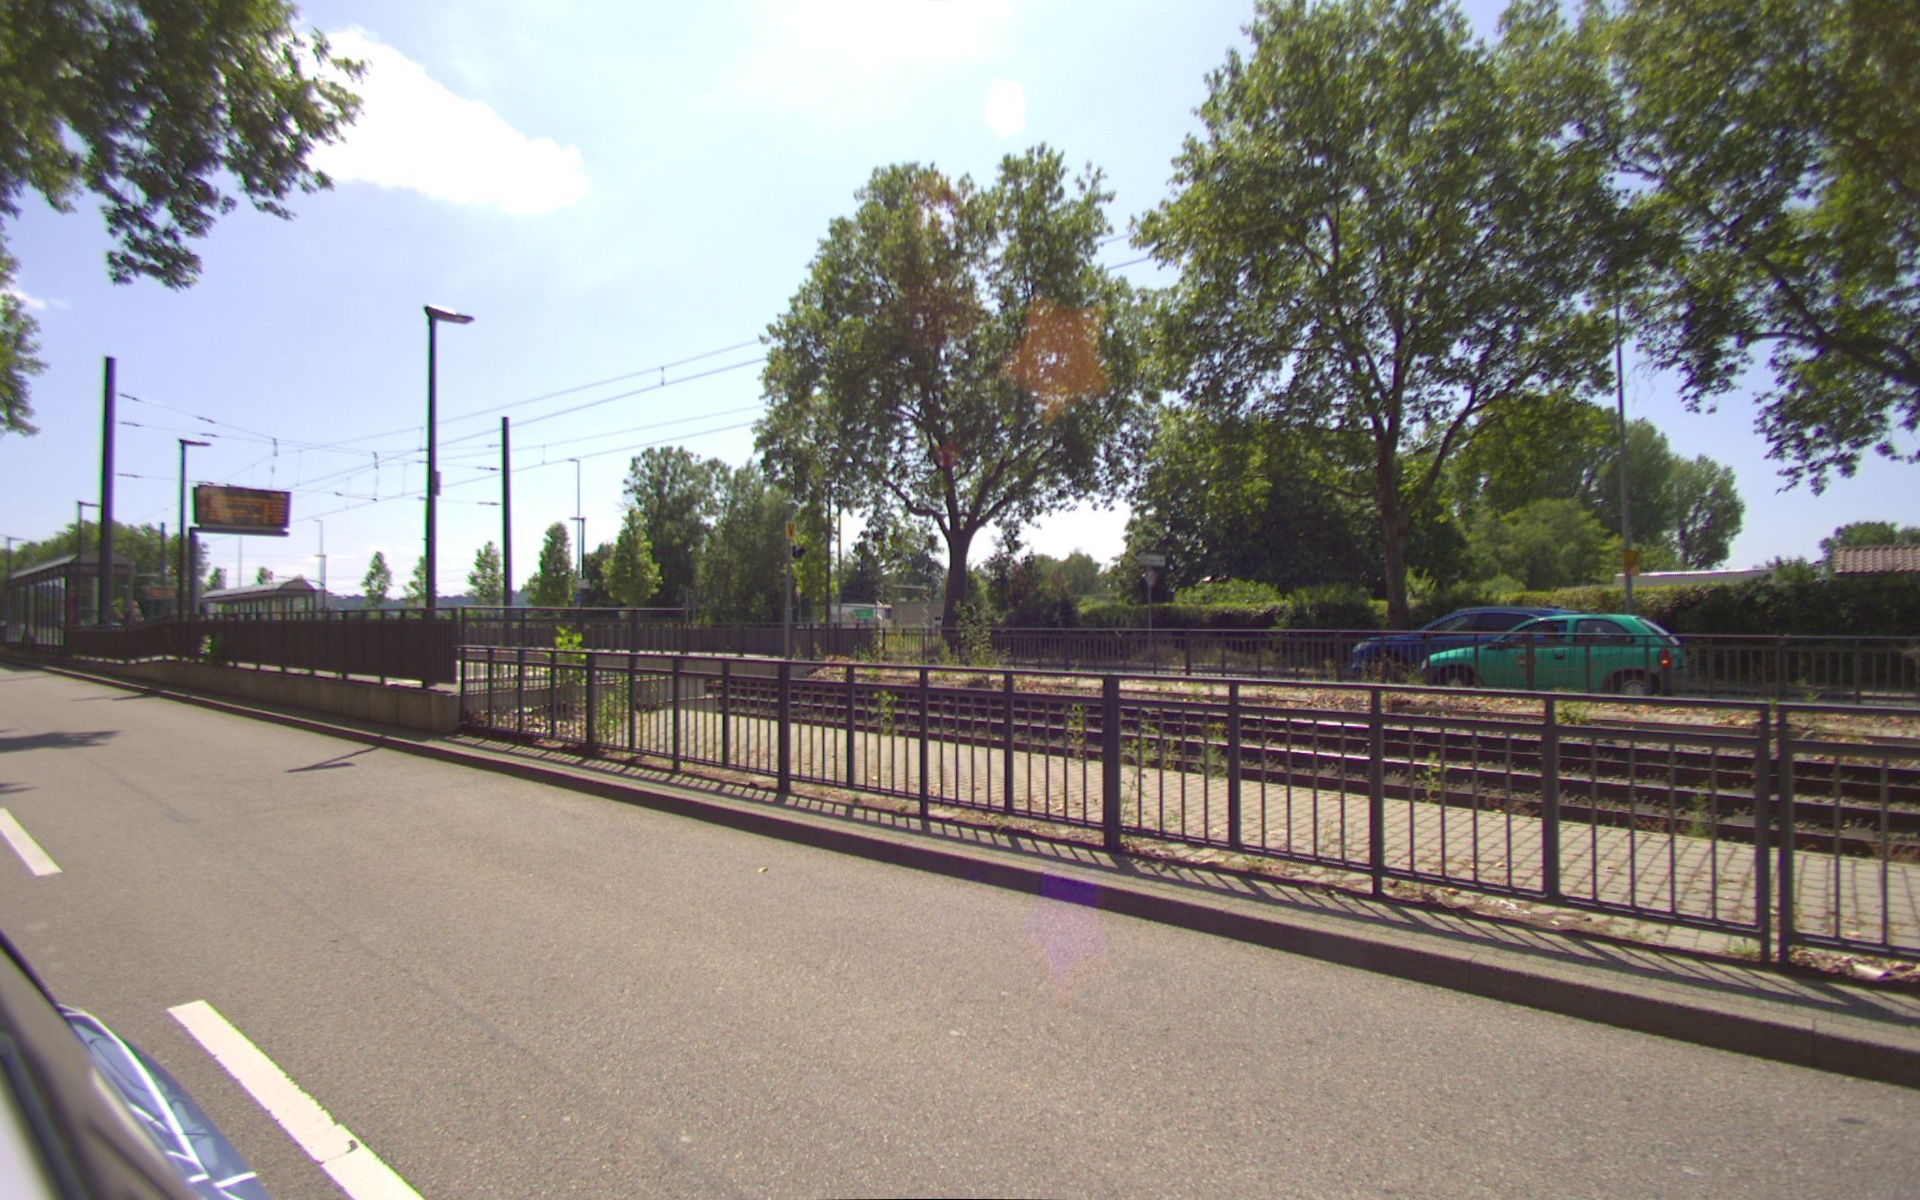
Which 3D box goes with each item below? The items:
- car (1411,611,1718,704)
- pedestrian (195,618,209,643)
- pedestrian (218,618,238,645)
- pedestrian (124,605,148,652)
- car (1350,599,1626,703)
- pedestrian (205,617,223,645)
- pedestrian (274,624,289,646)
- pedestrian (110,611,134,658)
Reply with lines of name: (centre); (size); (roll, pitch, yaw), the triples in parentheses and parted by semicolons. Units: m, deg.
car: (9.299, 0.825, 15.761); (3.838, 1.275, 1.627); (-2, -1, 44)
pedestrian: (-50.447, 2.047, 67.360); (0.804, 1.650, 0.552); (-2, -1, 35)
pedestrian: (-45.520, 1.944, 62.914); (0.815, 1.651, 0.579); (-1, -2, -11)
pedestrian: (-26.717, 0.929, 32.822); (0.413, 1.519, 0.396); (0, -1, 1)
car: (10.042, 0.912, 19.486); (4.385, 1.696, 1.725); (-1, 2, 44)
pedestrian: (-46.847, 1.922, 63.594); (0.726, 1.742, 0.579); (-1, -2, -11)
pedestrian: (-37.527, 1.937, 55.946); (0.639, 1.199, 0.570); (-2, -2, 42)
pedestrian: (-27.156, 1.123, 32.787); (0.413, 1.519, 0.396); (0, -1, 1)
